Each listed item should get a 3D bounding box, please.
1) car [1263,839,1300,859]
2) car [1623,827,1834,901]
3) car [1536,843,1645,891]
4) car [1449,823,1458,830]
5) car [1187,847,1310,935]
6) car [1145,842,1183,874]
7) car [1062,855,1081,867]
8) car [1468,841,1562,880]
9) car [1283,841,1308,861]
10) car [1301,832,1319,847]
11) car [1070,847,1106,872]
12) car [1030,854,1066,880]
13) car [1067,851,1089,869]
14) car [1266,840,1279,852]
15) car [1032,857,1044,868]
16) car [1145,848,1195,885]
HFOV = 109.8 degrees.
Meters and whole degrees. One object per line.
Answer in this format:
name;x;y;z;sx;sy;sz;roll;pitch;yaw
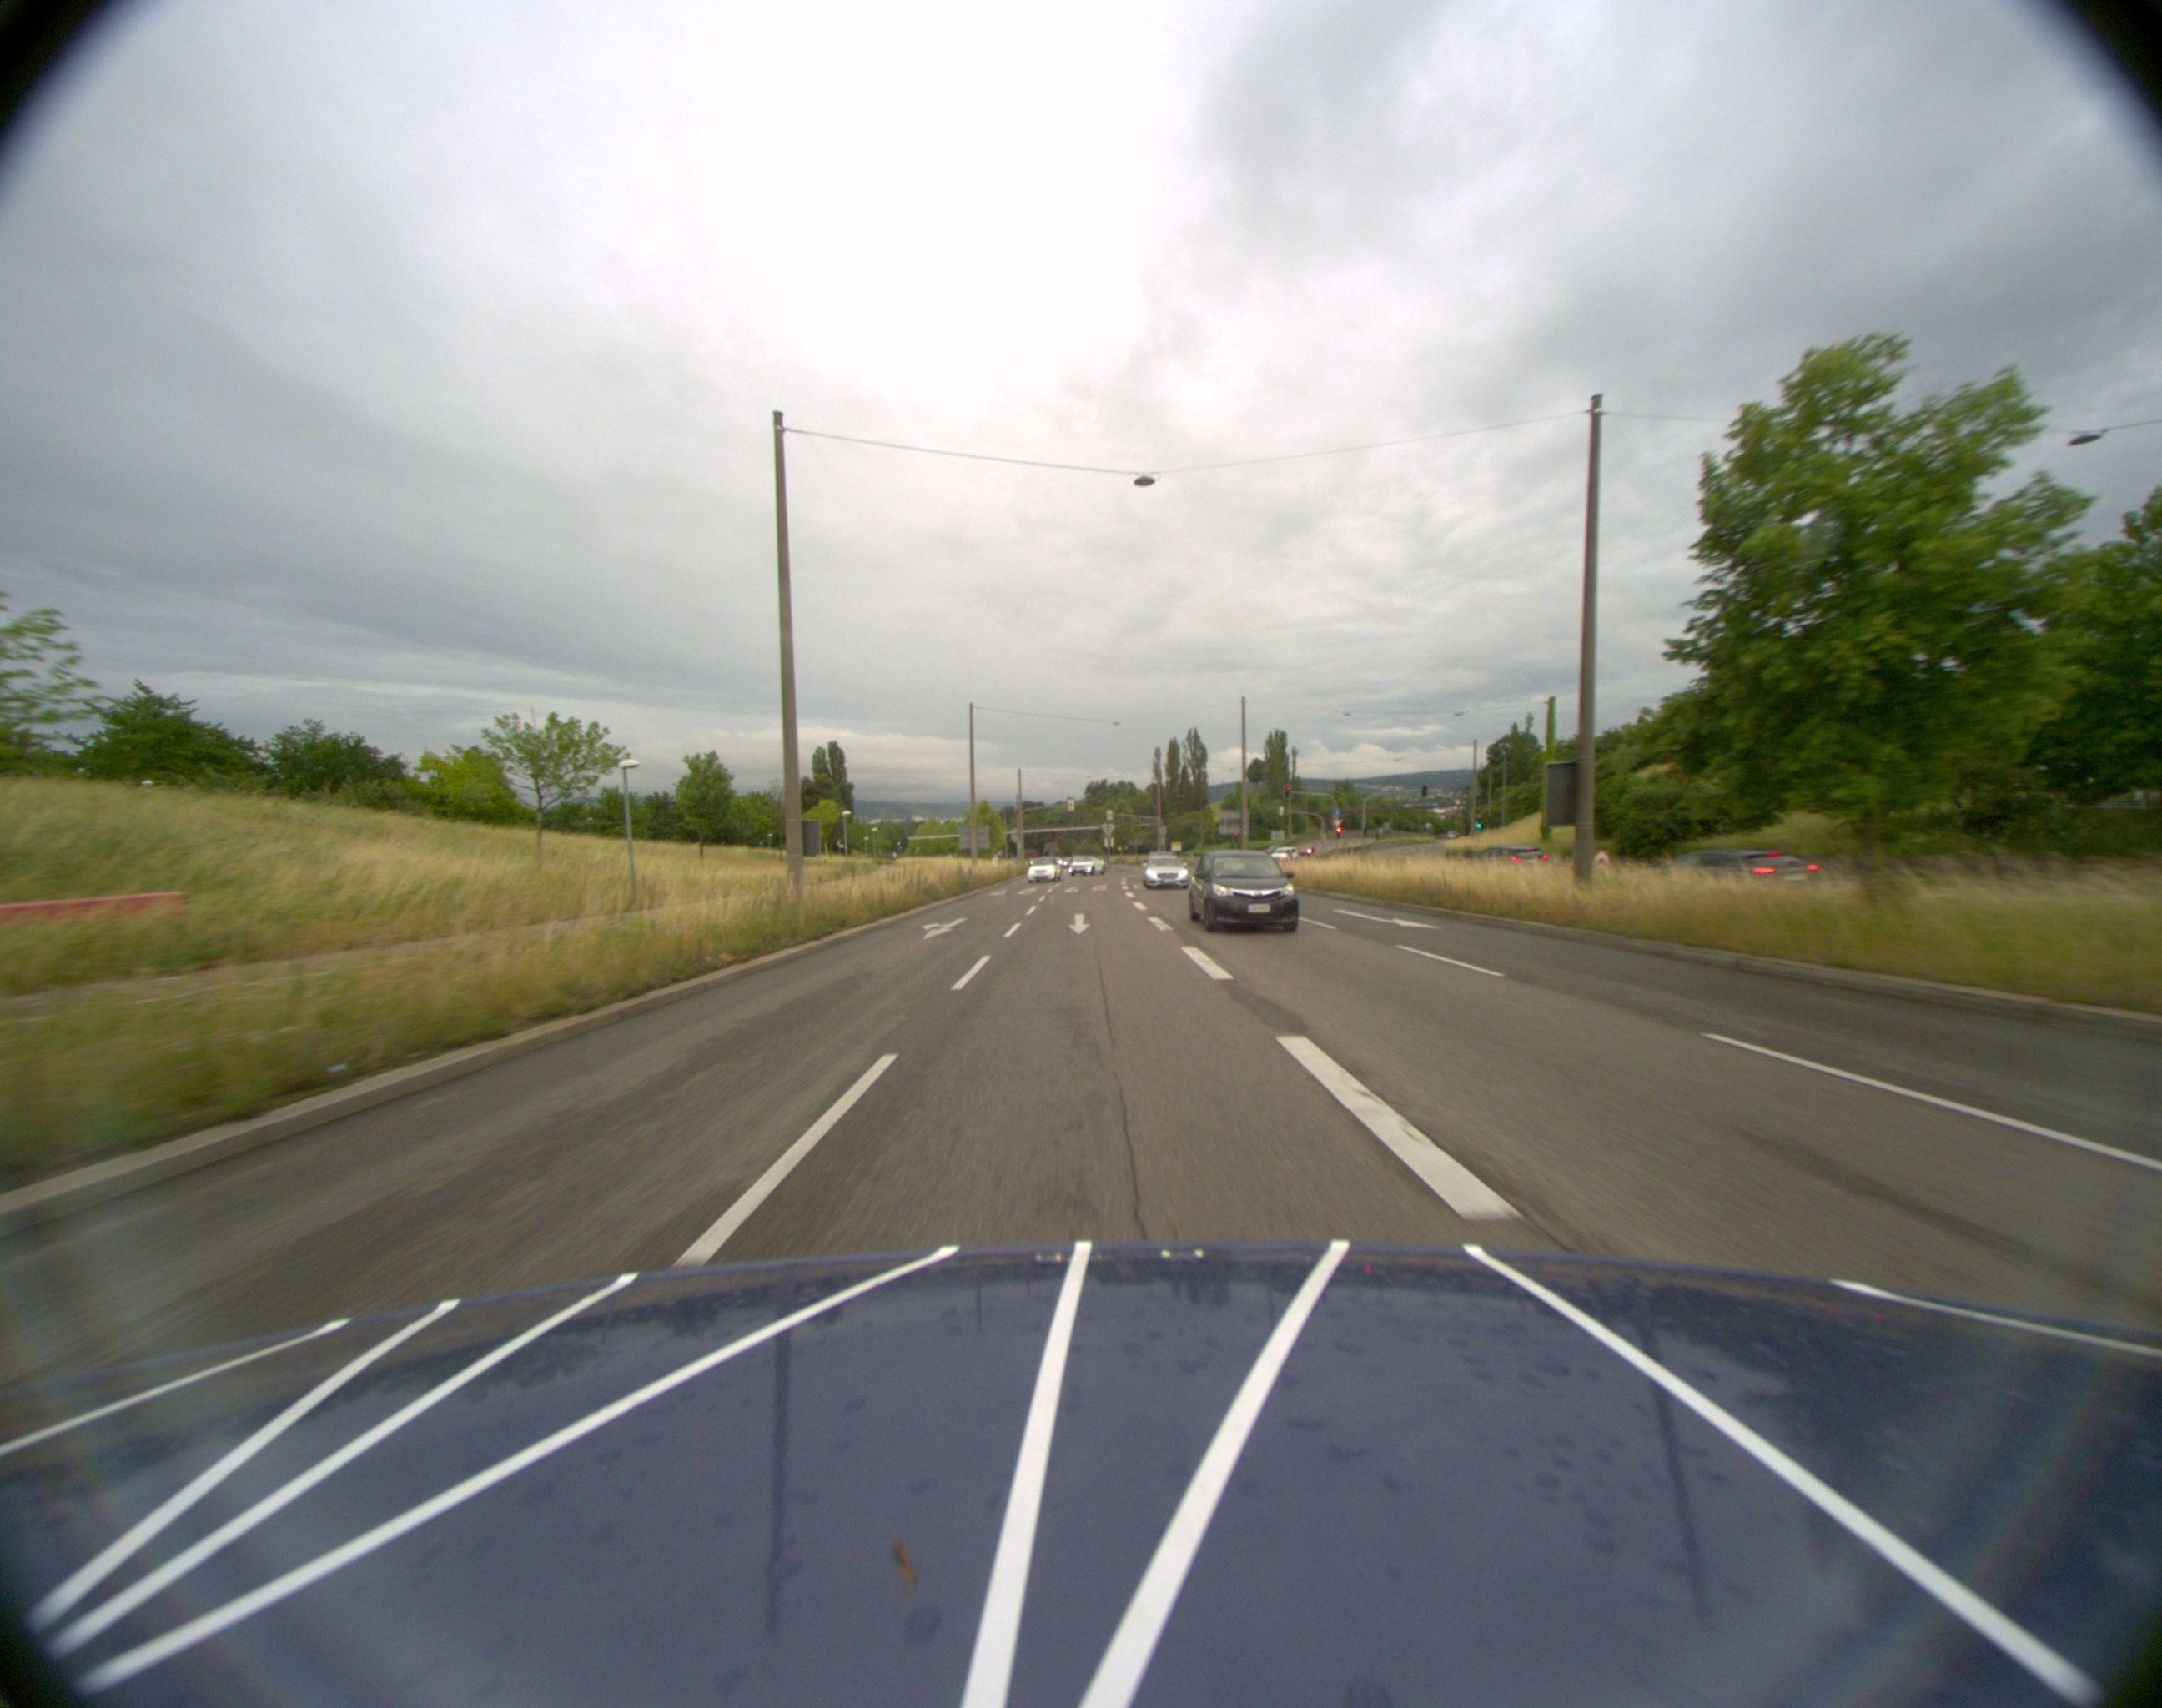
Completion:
car;22.872;-0.555;86.584;4.007;2.001;1.995;-2;-1;-39
car;16.971;0.231;20.215;1.999;1.630;4.018;-4;1;-3
car;22.569;0.497;33.862;1.999;2.002;3.998;0;1;-4
car;83.088;-6.235;169.527;1.557;1.424;3.235;-3;1;32
car;3.279;0.674;15.634;1.800;1.556;4.044;-1;0;3
car;4.881;0.220;45.354;1.927;1.725;4.026;-2;0;2
car;-1.222;0.932;100.064;1.872;1.477;3.996;-2;1;-9
car;19.751;0.276;34.790;1.866;1.611;3.999;-2;0;-3
car;22.934;-0.342;81.149;1.996;2.001;4.006;-4;-1;21
car;33.605;-2.059;111.453;1.996;2.001;4.006;-4;-1;21
car;0.603;0.391;59.159;1.841;1.532;3.819;-3;4;15
car;-2.003;0.794;47.817;1.725;1.513;4.228;-1;1;5
car;-0.358;0.559;77.482;1.999;1.633;4.626;-4;1;-3
car;32.270;-1.348;127.988;1.996;2.002;4.005;2;0;15
car;-8.452;1.632;149.177;2.000;2.002;3.996;-2;1;-10
car;3.885;0.507;33.906;1.998;1.400;4.524;1;2;4
